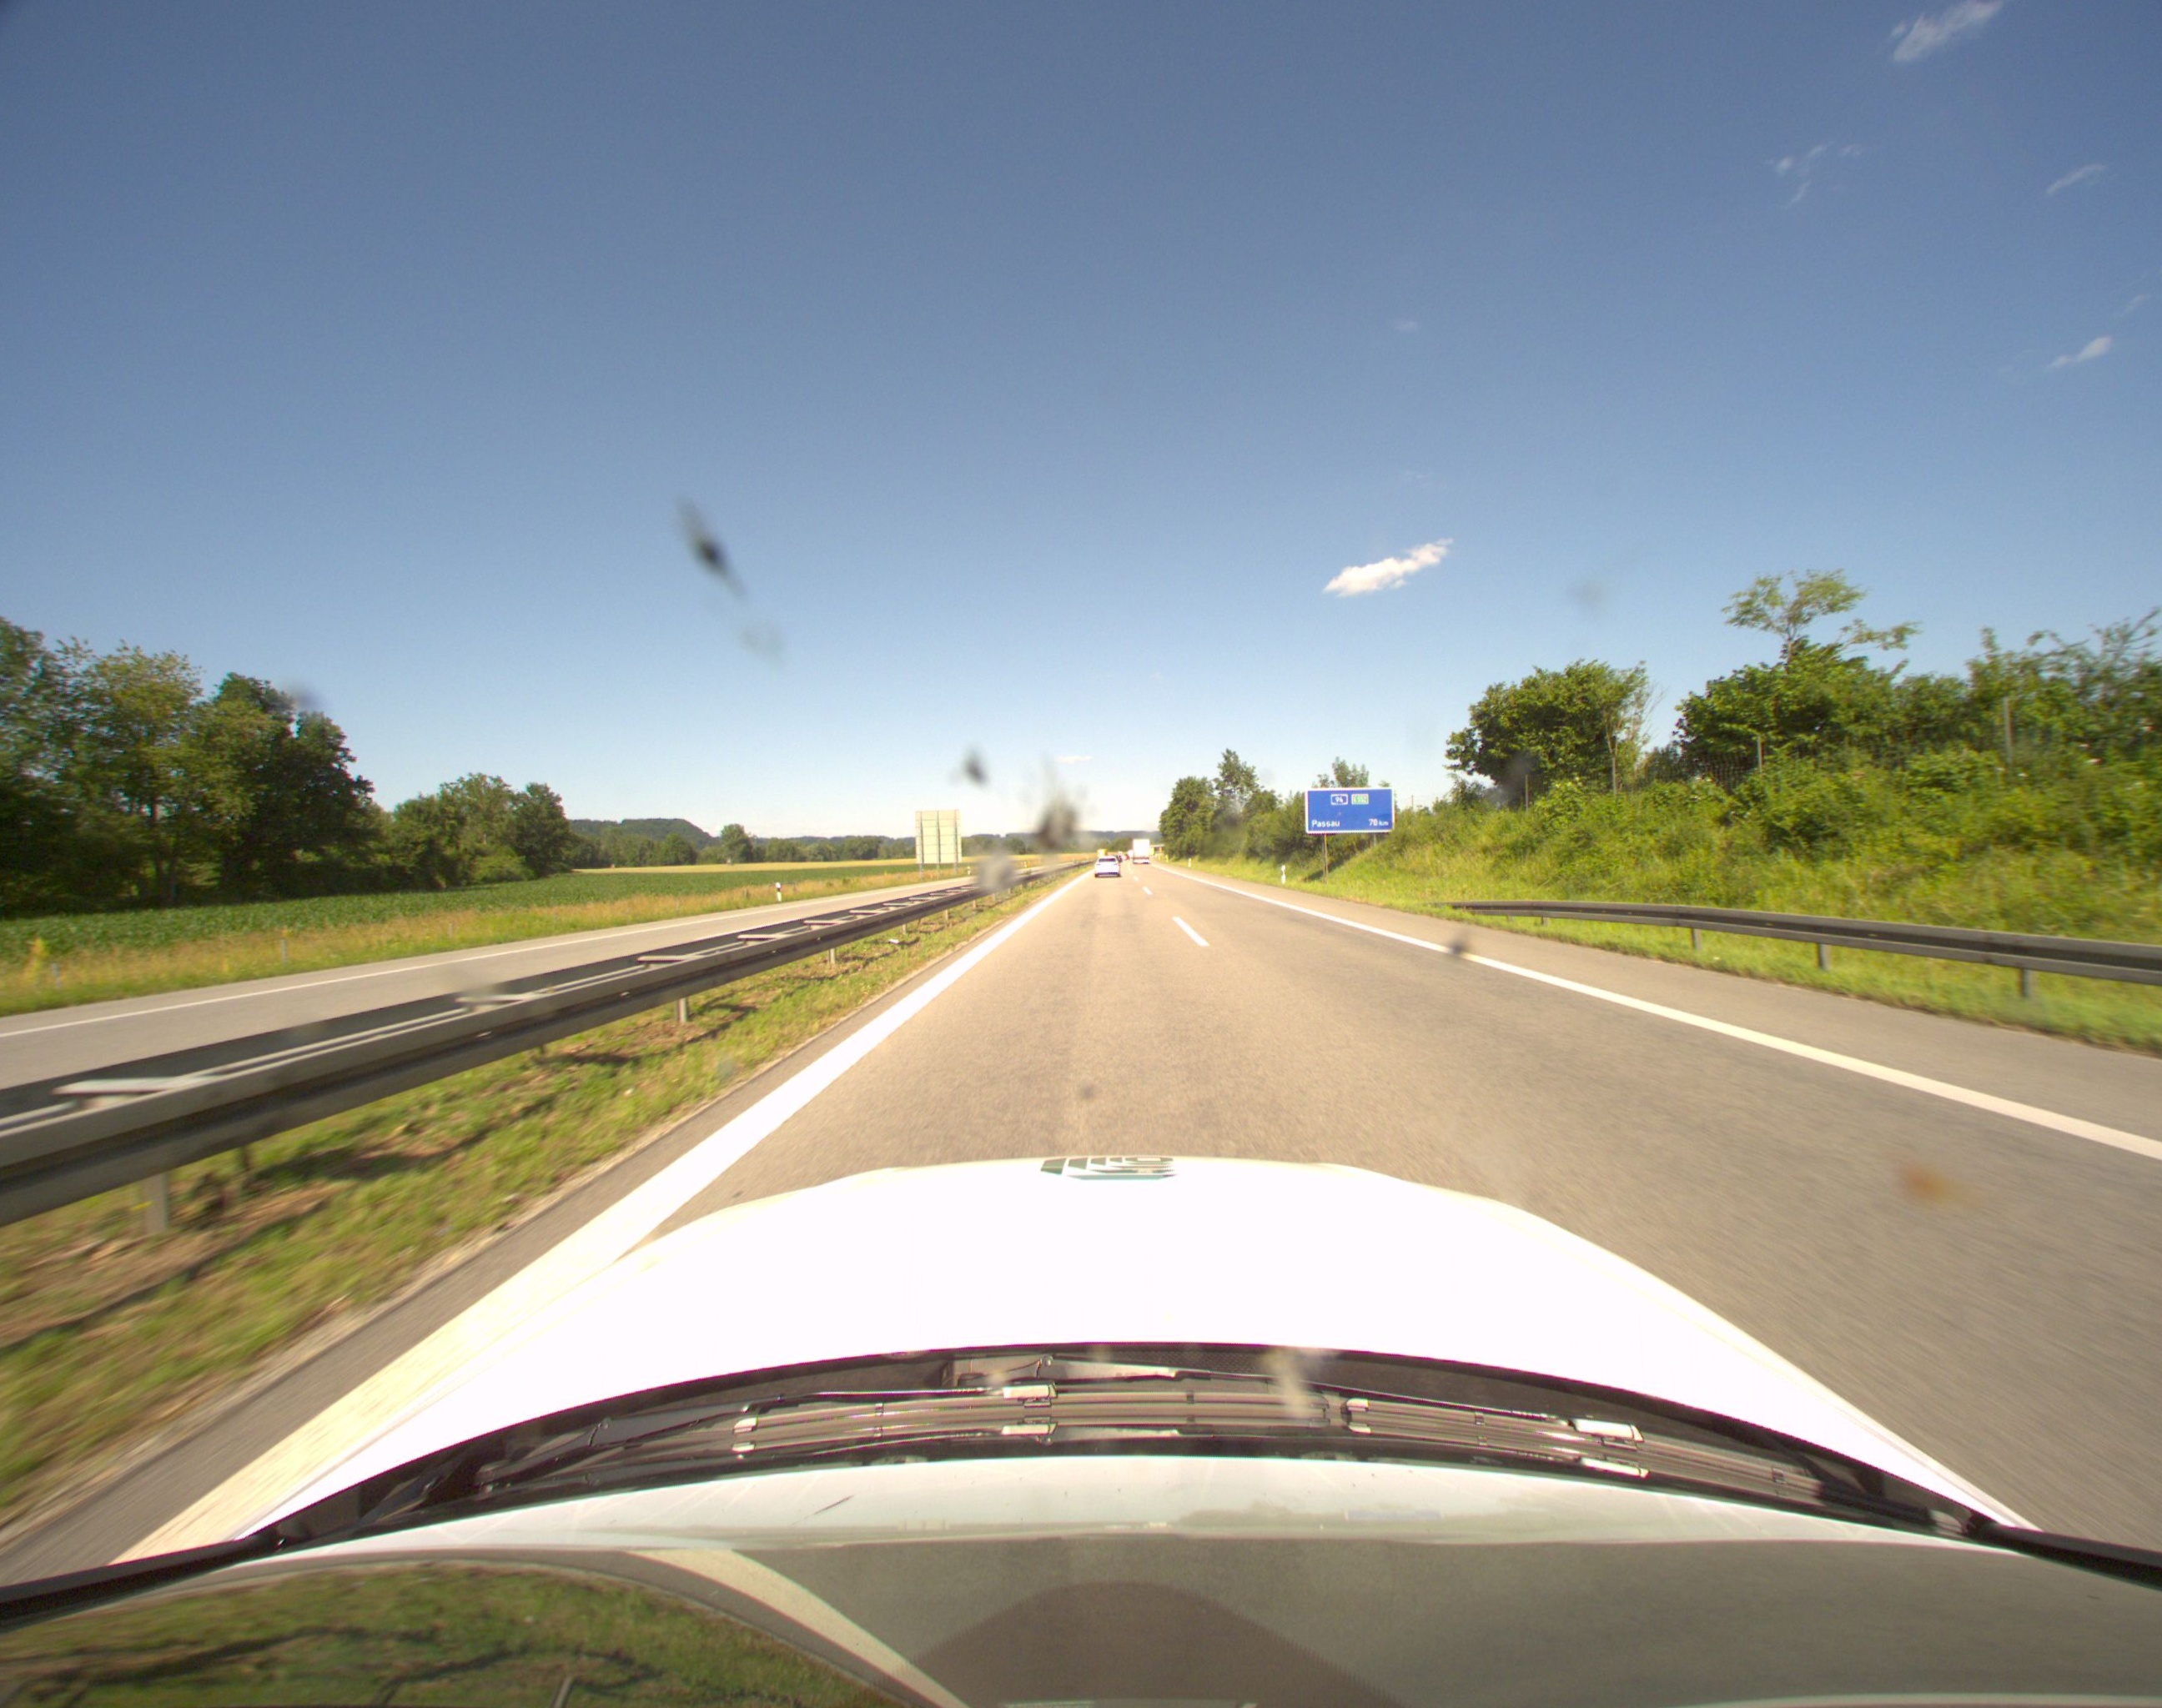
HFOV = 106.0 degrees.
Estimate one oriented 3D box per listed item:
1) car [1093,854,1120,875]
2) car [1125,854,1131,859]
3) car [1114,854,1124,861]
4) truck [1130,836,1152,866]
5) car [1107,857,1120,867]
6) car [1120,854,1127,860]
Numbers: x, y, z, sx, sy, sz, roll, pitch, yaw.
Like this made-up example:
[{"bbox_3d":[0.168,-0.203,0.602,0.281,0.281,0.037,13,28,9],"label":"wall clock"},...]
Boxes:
[{"bbox_3d":[1.808,0.710,57.051,1.833,1.421,5.257,0,0,2],"label":"car"},{"bbox_3d":[12.866,0.609,222.668,1.763,1.421,4.369,-1,0,4],"label":"car"},{"bbox_3d":[7.541,0.704,161.665,1.763,1.421,4.369,-1,0,4],"label":"car"},{"bbox_3d":[9.667,-0.531,131.079,3.138,4.612,8.915,-2,0,4],"label":"truck"},{"bbox_3d":[4.671,1.143,117.276,1.764,1.421,4.498,-1,0,3],"label":"car"},{"bbox_3d":[10.651,0.677,202.693,1.763,1.421,4.369,-1,0,4],"label":"car"}]
